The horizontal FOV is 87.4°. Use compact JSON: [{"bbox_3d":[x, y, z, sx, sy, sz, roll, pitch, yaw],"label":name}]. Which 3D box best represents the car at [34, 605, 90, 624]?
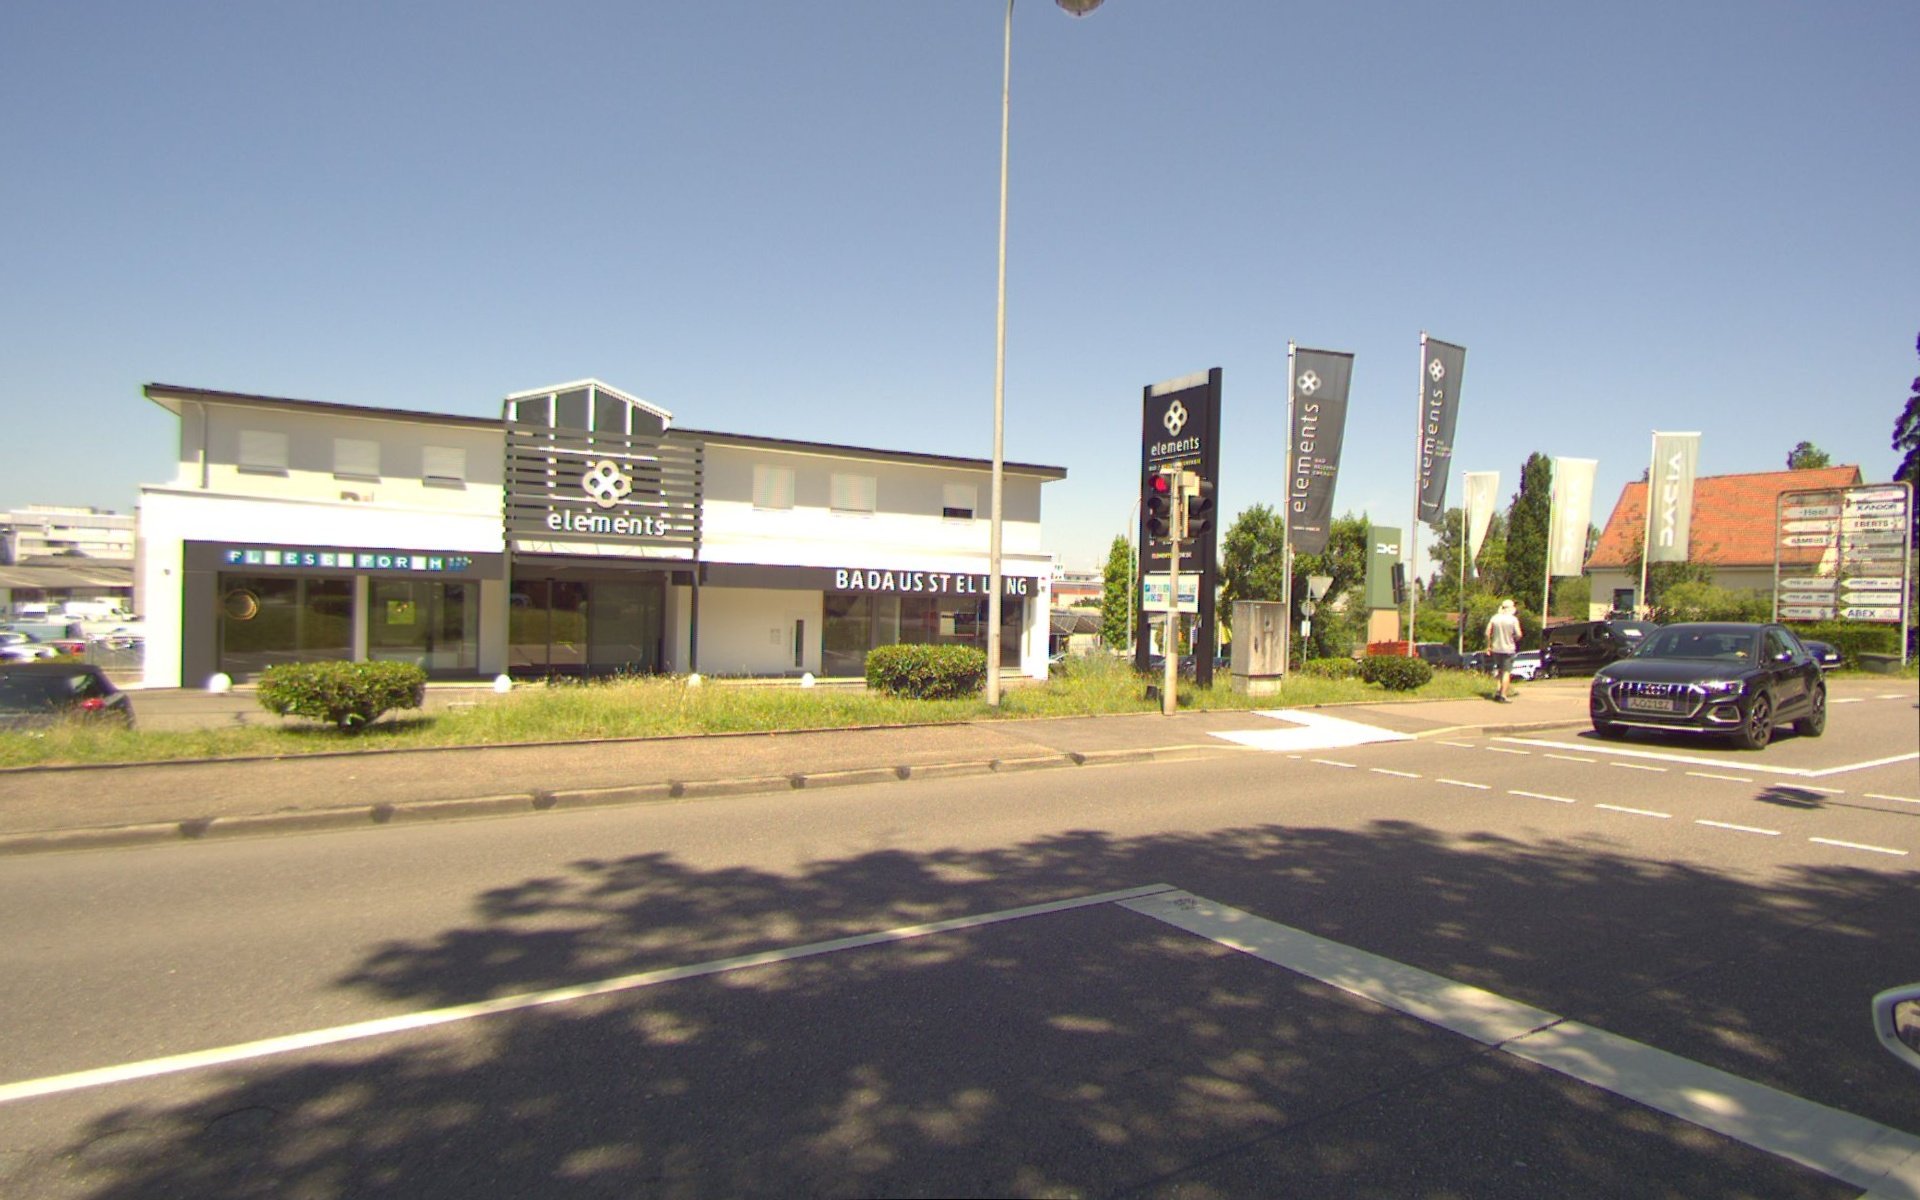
[{"bbox_3d":[-88.208,1.468,98.753,3.726,1.778,1.719,1,0,-28],"label":"car"}]

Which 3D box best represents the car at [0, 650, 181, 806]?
[{"bbox_3d":[-11.711,1.507,12.880,1.746,1.553,4.076,1,-1,-24],"label":"car"}]

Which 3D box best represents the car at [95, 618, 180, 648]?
[{"bbox_3d":[-50.607,2.050,61.883,3.726,1.778,1.719,2,-1,-28],"label":"car"}]

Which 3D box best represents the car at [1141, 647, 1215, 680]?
[{"bbox_3d":[10.936,3.155,50.230,3.973,1.506,1.735,2,-1,-44],"label":"car"}]

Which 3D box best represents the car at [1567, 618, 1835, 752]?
[{"bbox_3d":[10.470,1.079,14.098,4.263,1.576,1.912,2,-1,-37],"label":"car"}]

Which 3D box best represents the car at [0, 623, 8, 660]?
[{"bbox_3d":[-49.213,2.025,48.955,3.726,1.778,1.719,2,-1,-28],"label":"car"}]

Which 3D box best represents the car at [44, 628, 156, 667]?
[{"bbox_3d":[-41.166,2.275,48.196,3.726,1.778,1.719,2,-1,-28],"label":"car"}]

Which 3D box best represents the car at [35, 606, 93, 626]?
[{"bbox_3d":[-84.178,1.491,94.385,3.726,1.778,1.719,1,1,-28],"label":"car"}]

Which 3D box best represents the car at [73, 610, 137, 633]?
[{"bbox_3d":[-71.056,1.792,83.510,3.726,1.778,1.719,2,0,-28],"label":"car"}]

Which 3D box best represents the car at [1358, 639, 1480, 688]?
[{"bbox_3d":[17.644,2.425,38.657,4.022,1.744,1.808,2,0,-16],"label":"car"}]

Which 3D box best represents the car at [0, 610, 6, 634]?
[{"bbox_3d":[-74.821,1.612,75.825,3.726,1.778,1.719,2,0,-28],"label":"car"}]

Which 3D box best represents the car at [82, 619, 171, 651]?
[{"bbox_3d":[-49.315,2.076,59.537,3.726,1.778,1.719,2,-1,-28],"label":"car"}]

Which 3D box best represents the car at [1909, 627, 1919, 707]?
[{"bbox_3d":[20.586,1.344,19.854,4.011,1.527,1.857,2,-1,-34],"label":"car"}]

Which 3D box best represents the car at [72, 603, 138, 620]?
[{"bbox_3d":[-95.739,1.313,112.526,5.236,1.778,2.051,2,-1,-28],"label":"car"}]

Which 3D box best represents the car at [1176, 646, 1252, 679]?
[{"bbox_3d":[12.070,2.940,47.674,3.838,1.434,1.633,2,-1,-42],"label":"car"}]

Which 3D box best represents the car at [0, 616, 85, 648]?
[{"bbox_3d":[-54.801,1.911,59.769,3.726,1.778,1.719,2,-1,-28],"label":"car"}]

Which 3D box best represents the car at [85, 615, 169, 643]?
[{"bbox_3d":[-55.220,1.929,66.671,4.004,1.778,1.719,2,-1,-28],"label":"car"}]

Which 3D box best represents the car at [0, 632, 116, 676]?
[{"bbox_3d":[-39.126,2.307,43.398,3.726,1.778,1.719,2,-1,-28],"label":"car"}]

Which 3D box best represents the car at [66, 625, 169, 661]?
[{"bbox_3d":[-43.491,2.218,51.938,3.726,1.778,1.719,2,-1,-28],"label":"car"}]

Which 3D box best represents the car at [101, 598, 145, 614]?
[{"bbox_3d":[-99.801,0.693,119.849,3.726,1.778,1.719,2,-1,-28],"label":"car"}]

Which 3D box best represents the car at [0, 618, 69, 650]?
[{"bbox_3d":[-53.408,1.937,57.112,3.726,1.778,1.719,2,-1,-28],"label":"car"}]

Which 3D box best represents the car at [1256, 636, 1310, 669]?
[{"bbox_3d":[18.889,3.005,58.653,1.785,1.744,4.075,1,0,36],"label":"car"}]

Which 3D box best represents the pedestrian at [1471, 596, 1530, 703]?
[{"bbox_3d":[9.227,0.834,17.158,0.689,1.785,0.545,1,0,-4],"label":"pedestrian"}]

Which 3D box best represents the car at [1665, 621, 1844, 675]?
[{"bbox_3d":[24.868,1.467,31.612,1.751,1.524,4.129,1,-1,-20],"label":"car"}]

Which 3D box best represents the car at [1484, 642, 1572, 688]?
[{"bbox_3d":[23.894,2.683,42.214,4.053,1.744,1.795,2,0,-38],"label":"car"}]

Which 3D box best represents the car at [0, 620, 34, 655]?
[{"bbox_3d":[-51.433,1.960,52.779,3.726,1.778,1.719,2,-1,-28],"label":"car"}]
